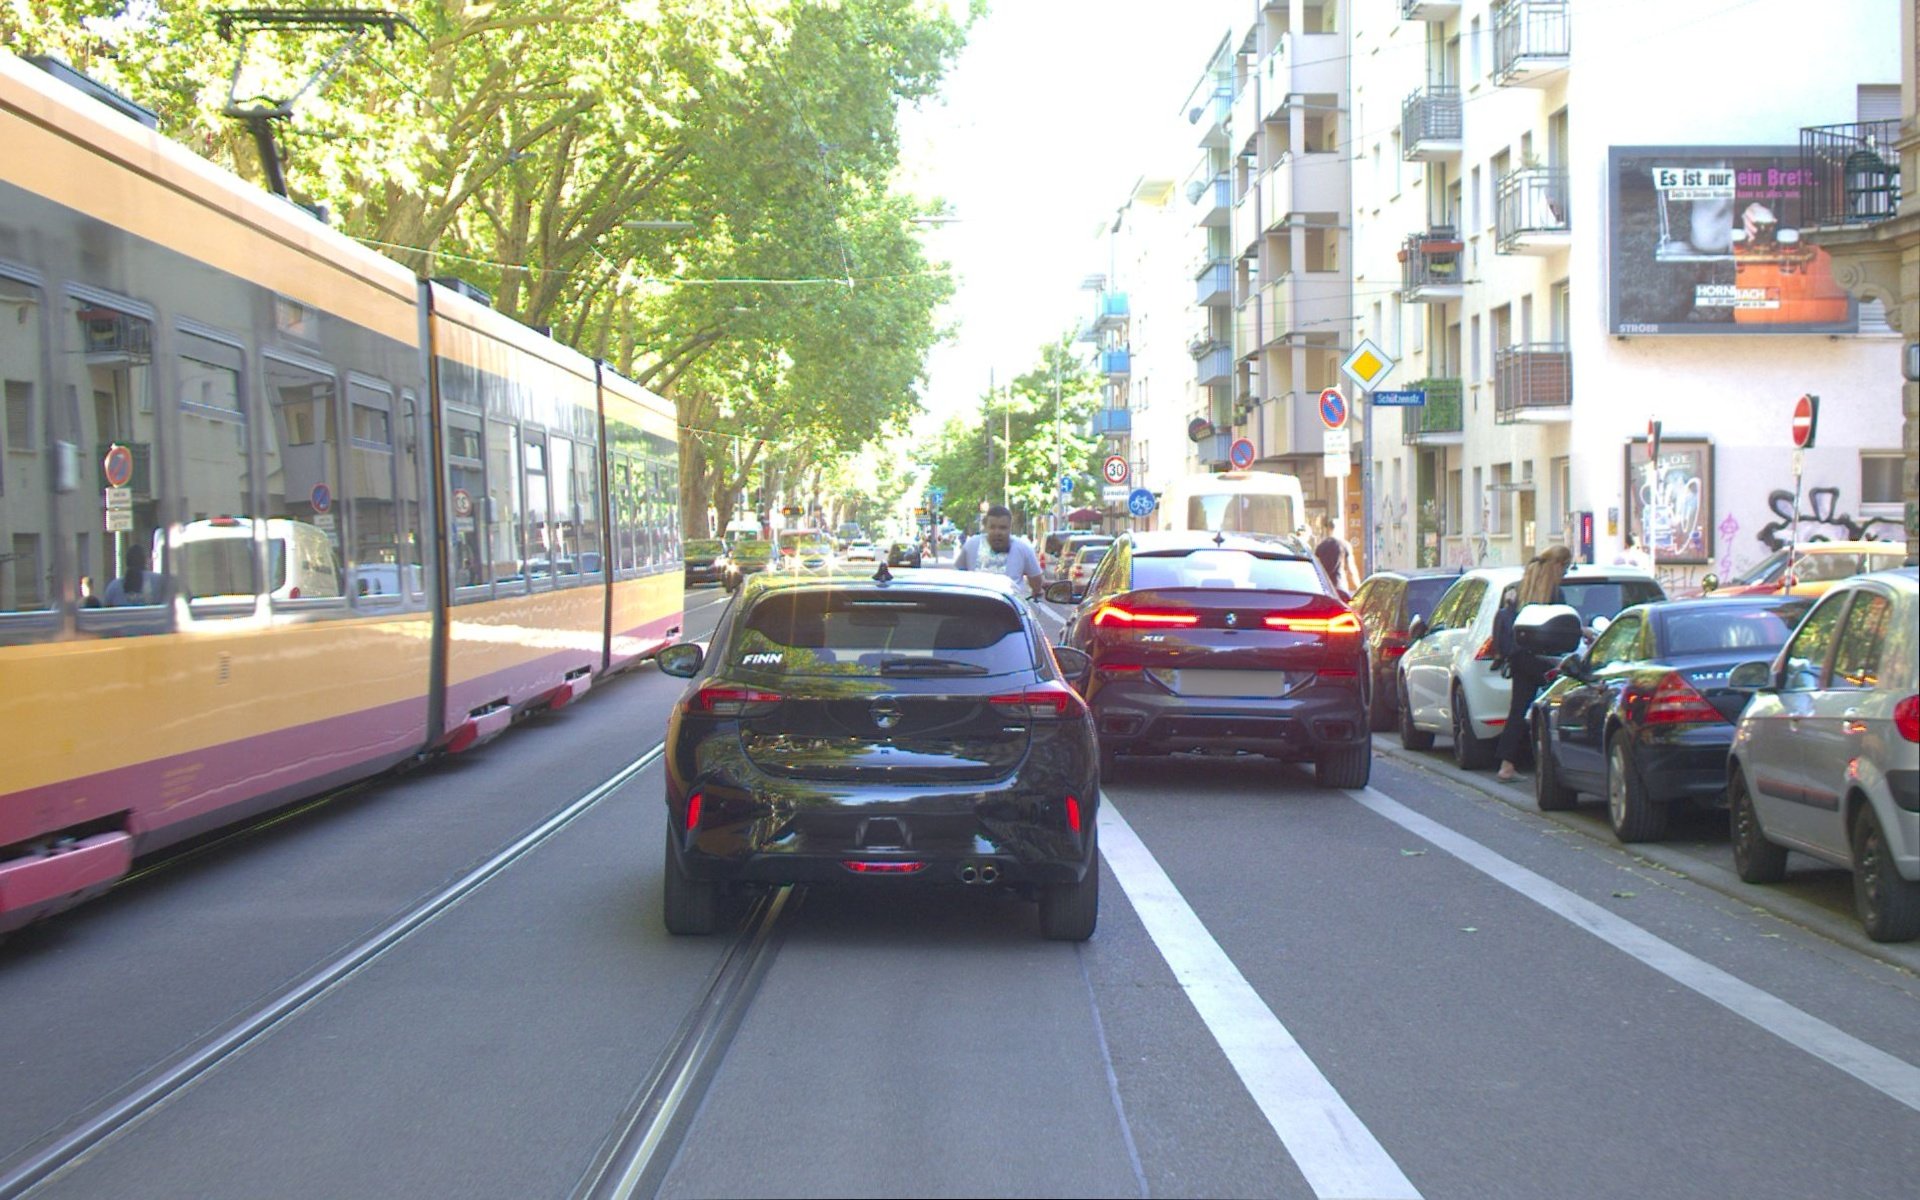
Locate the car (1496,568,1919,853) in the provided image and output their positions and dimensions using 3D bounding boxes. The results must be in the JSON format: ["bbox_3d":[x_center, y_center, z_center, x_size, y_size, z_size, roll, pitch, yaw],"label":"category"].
[{"bbox_3d":[4.266,0.547,19.512,1.810,1.333,3.933,-3,1,1],"label":"car"}]

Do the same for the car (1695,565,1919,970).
[{"bbox_3d":[4.371,0.598,14.814,1.705,1.451,3.697,-3,1,3],"label":"car"}]

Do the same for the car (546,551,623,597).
[{"bbox_3d":[-11.159,-0.782,102.308,1.810,1.334,3.933,1,1,1],"label":"car"}]

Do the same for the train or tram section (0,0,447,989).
[{"bbox_3d":[-4.553,-0.571,14.501,2.735,3.669,12.716,-1,1,1],"label":"train or tram section"}]

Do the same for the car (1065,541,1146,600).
[{"bbox_3d":[3.565,-0.741,84.747,1.810,1.333,3.933,-3,1,1],"label":"car"}]

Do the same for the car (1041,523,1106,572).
[{"bbox_3d":[3.366,-1.576,102.565,1.810,1.333,3.933,-3,1,1],"label":"car"}]

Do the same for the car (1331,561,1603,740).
[{"bbox_3d":[4.432,0.397,30.576,1.810,1.375,3.933,-3,1,1],"label":"car"}]

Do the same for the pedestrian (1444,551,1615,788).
[{"bbox_3d":[3.851,0.457,23.290,0.765,1.561,0.869,0,1,-25],"label":"pedestrian"}]

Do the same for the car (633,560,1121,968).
[{"bbox_3d":[-0.330,0.590,14.498,1.794,1.436,3.531,1,2,-1],"label":"car"}]

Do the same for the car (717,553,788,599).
[{"bbox_3d":[-6.105,-0.716,101.435,1.810,1.334,3.933,0,1,1],"label":"car"}]

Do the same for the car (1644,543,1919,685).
[{"bbox_3d":[11.377,0.175,45.163,4.377,1.792,1.876,1,1,-1],"label":"car"}]

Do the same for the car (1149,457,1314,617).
[{"bbox_3d":[4.074,-0.949,52.395,2.075,2.211,4.933,-3,1,1],"label":"car"}]

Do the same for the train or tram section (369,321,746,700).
[{"bbox_3d":[-4.323,-0.964,39.905,2.735,3.669,12.716,-1,1,1],"label":"train or tram section"}]

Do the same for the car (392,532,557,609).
[{"bbox_3d":[-12.166,-0.742,86.348,3.919,1.784,1.677,2,1,-3],"label":"car"}]

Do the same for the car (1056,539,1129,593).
[{"bbox_3d":[3.579,-0.928,93.327,1.810,1.333,3.933,-3,1,1],"label":"car"}]

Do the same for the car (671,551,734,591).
[{"bbox_3d":[-8.808,-1.002,117.971,1.810,1.334,3.933,1,1,1],"label":"car"}]

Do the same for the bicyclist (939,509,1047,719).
[{"bbox_3d":[0.269,0.108,29.081,0.848,1.734,1.162,1,1,-2],"label":"bicyclist"}]

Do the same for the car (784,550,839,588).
[{"bbox_3d":[-5.665,-1.206,131.388,1.810,1.333,3.933,-3,1,1],"label":"car"}]

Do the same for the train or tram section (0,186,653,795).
[{"bbox_3d":[-4.444,-0.756,27.209,2.735,3.669,12.716,-1,1,1],"label":"train or tram section"}]

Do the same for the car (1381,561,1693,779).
[{"bbox_3d":[4.260,0.464,25.900,1.661,1.415,3.933,-3,1,1],"label":"car"}]

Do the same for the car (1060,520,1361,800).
[{"bbox_3d":[1.629,0.347,23.564,1.810,1.736,3.933,1,1,1],"label":"car"}]

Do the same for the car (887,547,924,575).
[{"bbox_3d":[-2.647,-1.900,167.538,1.810,1.334,3.933,0,1,-1],"label":"car"}]

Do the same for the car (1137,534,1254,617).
[{"bbox_3d":[4.183,-0.454,61.490,1.810,1.333,3.933,-3,1,1],"label":"car"}]

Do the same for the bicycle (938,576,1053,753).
[{"bbox_3d":[0.282,0.513,29.121,0.860,1.402,2.524,1,1,-2],"label":"bicycle"}]

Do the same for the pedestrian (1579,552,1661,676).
[{"bbox_3d":[8.416,0.175,43.849,0.866,1.561,0.768,1,1,-2],"label":"pedestrian"}]
